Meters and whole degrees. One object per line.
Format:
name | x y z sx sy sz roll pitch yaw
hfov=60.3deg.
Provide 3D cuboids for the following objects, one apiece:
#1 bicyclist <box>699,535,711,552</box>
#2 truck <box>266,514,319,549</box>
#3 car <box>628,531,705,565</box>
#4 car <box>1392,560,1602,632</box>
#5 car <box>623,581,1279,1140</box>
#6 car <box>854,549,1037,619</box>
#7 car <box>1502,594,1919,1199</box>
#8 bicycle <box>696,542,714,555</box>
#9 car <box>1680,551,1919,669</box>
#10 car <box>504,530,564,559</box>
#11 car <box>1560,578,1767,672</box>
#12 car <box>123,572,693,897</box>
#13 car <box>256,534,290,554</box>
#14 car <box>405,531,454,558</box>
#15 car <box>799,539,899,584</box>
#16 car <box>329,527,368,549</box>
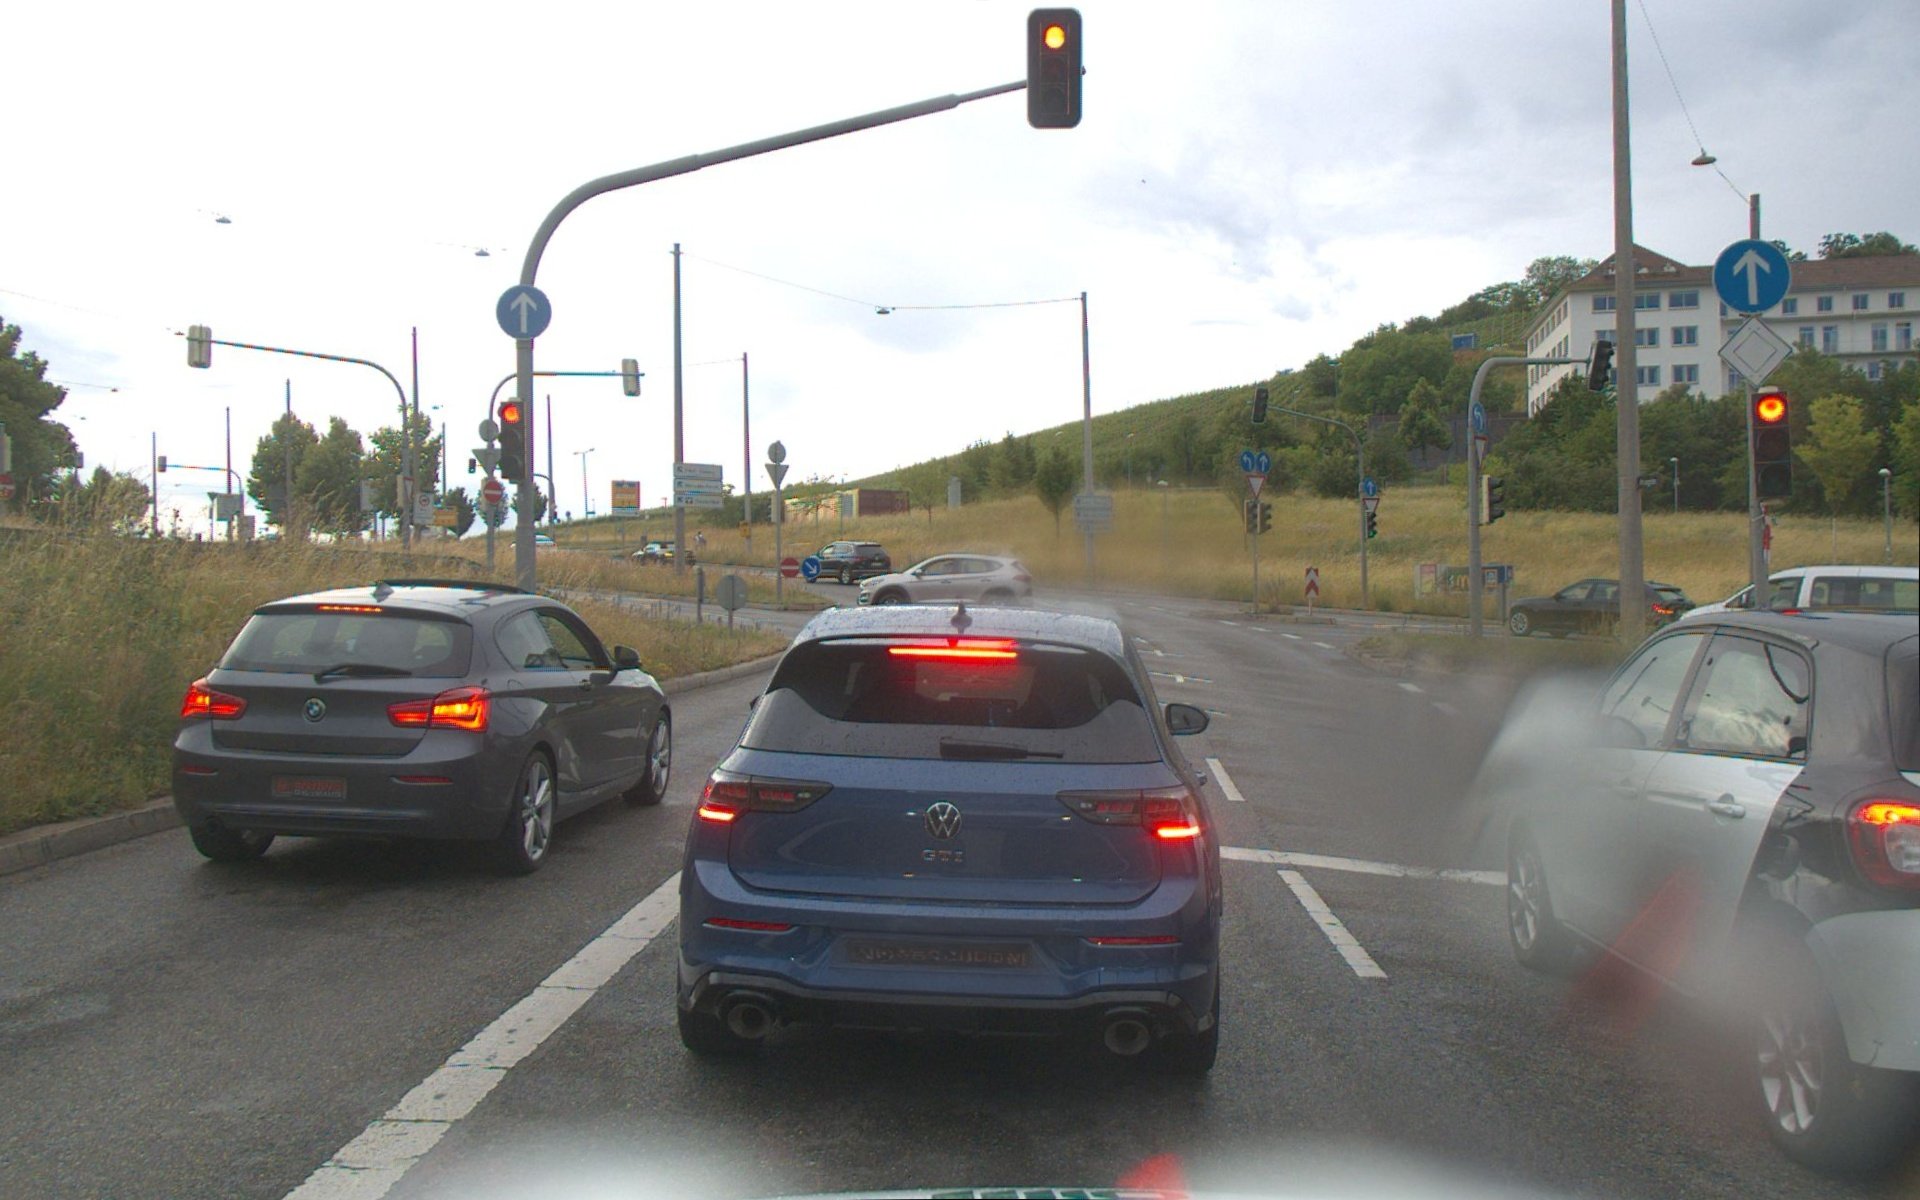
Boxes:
bicyclist | -16.725 -3.729 108.314 0.519 1.065 0.573 4 0 -36
truck | -65.536 -6.710 162.318 3.234 3.128 6.096 4 0 -37
car | -14.496 -2.529 81.524 1.978 1.503 4.446 1 -1 -36
car | 13.445 -0.128 41.661 1.978 1.646 4.791 2 0 -36
car | 0.113 0.697 6.420 1.786 1.486 3.810 1 0 4
car | -0.310 -0.383 41.327 4.415 1.649 2.001 1 -1 4
car | 3.201 0.781 5.805 1.623 1.529 3.452 1 -1 3
bicycle | -16.711 -3.359 108.258 0.513 0.788 1.602 3 0 -33
car | 15.001 0.174 28.307 1.806 1.882 4.627 2 -1 -41
car | -25.149 -3.249 97.626 1.978 1.503 4.364 1 -1 -36
car | 16.139 0.550 38.063 1.982 2.049 3.941 2 -1 -41
car | -2.887 0.595 9.668 1.667 1.485 4.117 0 0 5
car | -63.727 -5.180 153.434 1.978 1.688 4.298 1 -1 -36
car | -38.953 -4.054 121.372 2.111 1.826 4.683 1 -1 -34
car | -4.491 -1.503 66.488 1.979 1.665 4.362 1 -1 -37
car | -52.109 -5.268 140.820 1.978 1.688 4.487 1 -1 -36
